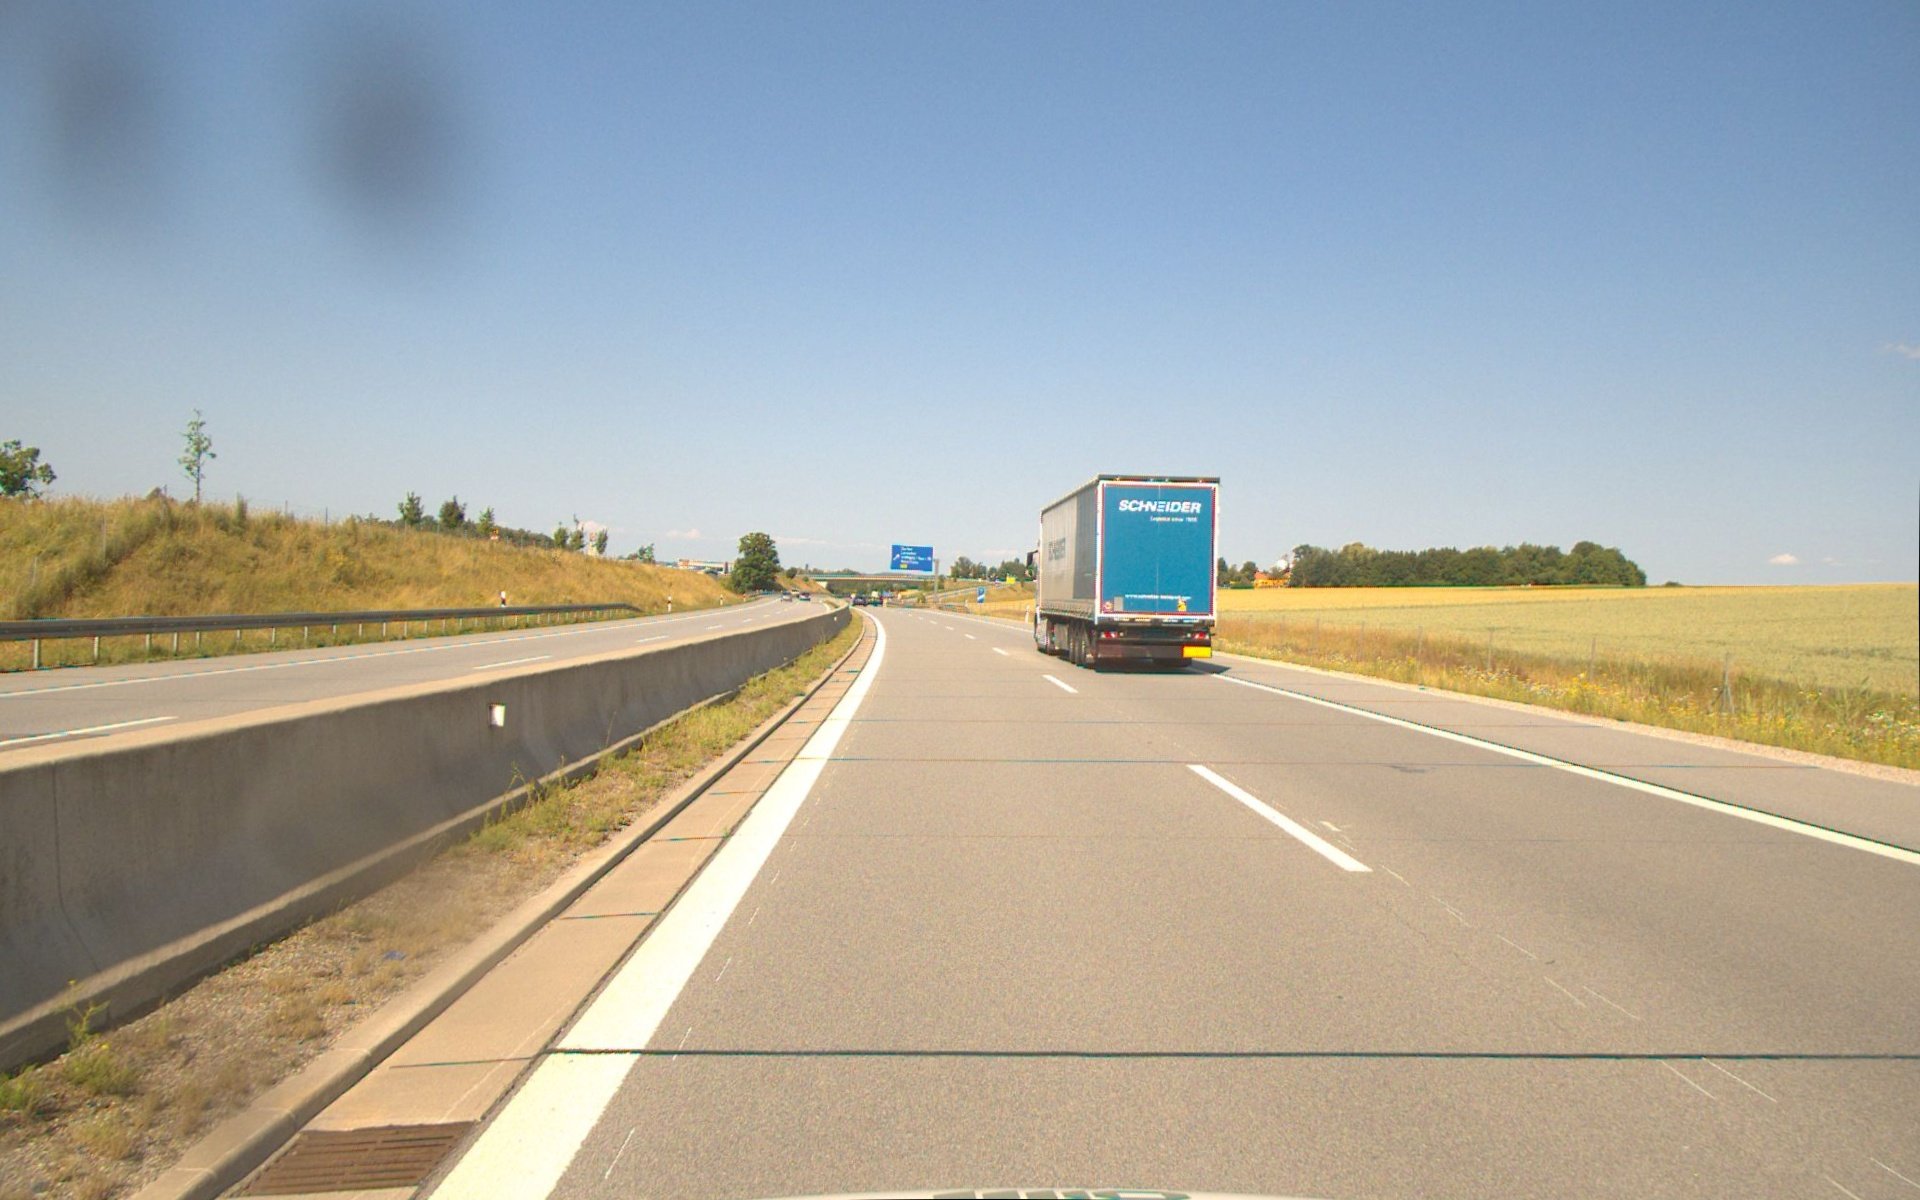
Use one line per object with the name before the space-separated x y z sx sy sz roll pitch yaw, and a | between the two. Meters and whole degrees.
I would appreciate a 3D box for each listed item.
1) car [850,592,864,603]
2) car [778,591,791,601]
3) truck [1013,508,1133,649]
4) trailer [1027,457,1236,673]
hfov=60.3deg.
car | -13.994 -0.347 225.192 1.954 1.579 3.998 0 0 -3
car | -25.872 -0.599 243.769 1.843 1.528 4.560 0 0 -6
truck | 3.394 -0.658 51.301 3.021 4.084 6.186 0 0 -3
trailer | 3.802 -0.741 41.245 3.112 4.369 15.454 0 0 -2
